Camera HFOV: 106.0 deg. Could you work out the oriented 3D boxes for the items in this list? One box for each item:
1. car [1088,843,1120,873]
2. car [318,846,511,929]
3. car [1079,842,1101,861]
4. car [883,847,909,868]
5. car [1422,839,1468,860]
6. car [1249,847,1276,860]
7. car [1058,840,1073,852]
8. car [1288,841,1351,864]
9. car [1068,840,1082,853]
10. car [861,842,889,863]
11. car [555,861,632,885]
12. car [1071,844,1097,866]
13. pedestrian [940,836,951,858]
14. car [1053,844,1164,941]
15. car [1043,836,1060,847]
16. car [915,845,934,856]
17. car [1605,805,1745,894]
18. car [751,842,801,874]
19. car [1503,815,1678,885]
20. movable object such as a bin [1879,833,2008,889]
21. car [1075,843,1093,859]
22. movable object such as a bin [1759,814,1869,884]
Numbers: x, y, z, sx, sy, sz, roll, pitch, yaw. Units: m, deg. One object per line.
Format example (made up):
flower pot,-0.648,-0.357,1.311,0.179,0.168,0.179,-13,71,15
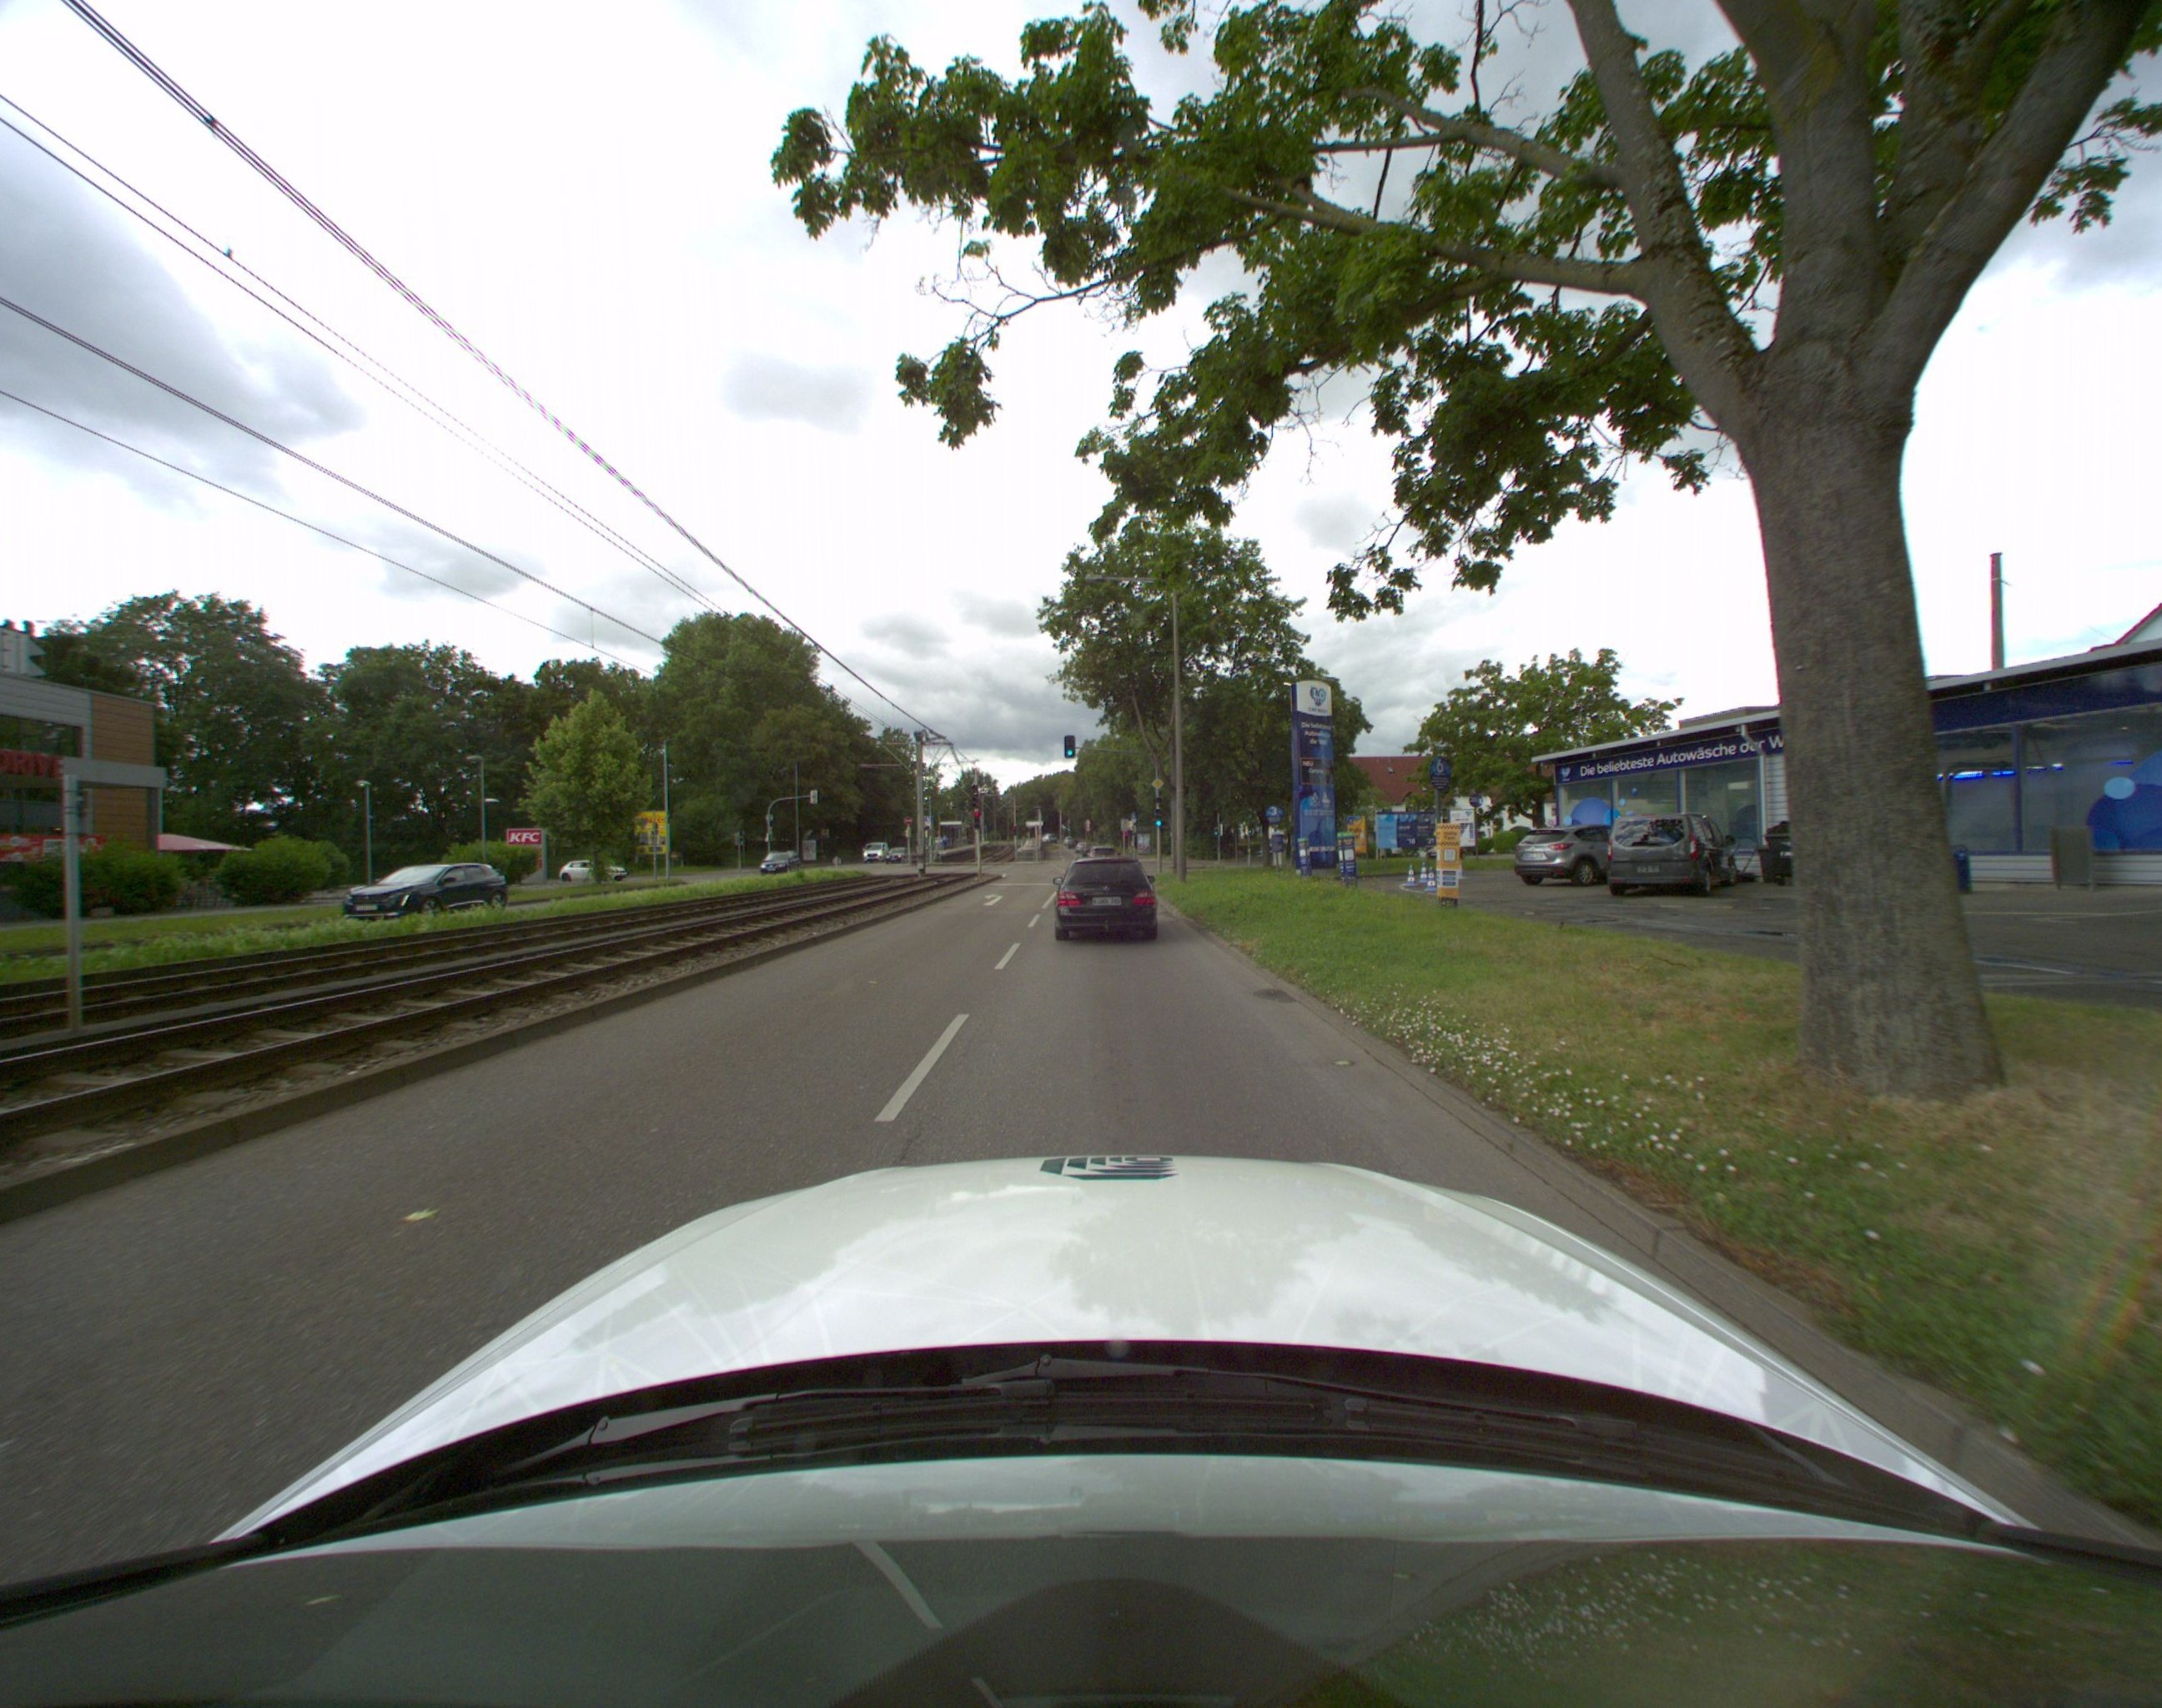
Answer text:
car,1.370,0.223,46.915,1.774,1.648,4.003,1,0,3
car,-18.245,0.845,22.598,1.990,2.013,4.241,-2,0,-4
car,0.879,-0.261,82.925,1.989,1.918,3.995,1,0,-4
car,-17.161,0.283,75.708,1.693,1.860,3.995,1,0,-3
car,32.270,-0.390,72.119,4.018,1.765,1.978,1,0,-37
car,20.749,-0.043,93.080,1.480,1.386,3.823,1,0,-13
car,-2.695,-1.416,142.293,1.995,2.013,3.984,1,0,-11
car,17.451,-0.112,59.703,4.132,1.526,1.707,-1,0,5
car,-0.980,-1.182,125.741,1.989,1.966,3.995,1,0,-4
car,-20.866,-0.180,82.810,1.991,2.013,4.876,-2,0,-6
car,-32.073,1.251,53.684,3.869,1.408,1.845,-2,0,-3
car,0.263,0.073,62.077,1.774,1.648,4.003,1,0,3
pedestrian,-13.903,-0.747,83.793,0.967,2.186,0.975,-1,0,-2
car,0.378,0.621,15.217,1.777,1.525,3.997,-1,0,-2
car,-5.728,-2.303,156.291,2.001,2.013,3.972,1,0,-21
car,-22.284,-0.475,116.240,1.989,1.481,4.501,-1,1,-4
car,13.703,-0.133,18.693,4.409,1.821,1.730,-2,0,-43
car,-20.382,0.240,54.670,1.990,2.013,4.101,-2,0,-4
car,14.129,-0.141,22.618,4.210,1.697,1.829,-2,1,-18
movable object such as a bin,16.180,0.132,15.317,1.156,0.976,1.187,-2,0,-4
car,0.380,-0.366,104.434,1.989,1.893,3.995,1,0,-4
movable object such as a bin,16.442,-0.118,18.315,1.156,1.474,1.385,-2,0,-4
